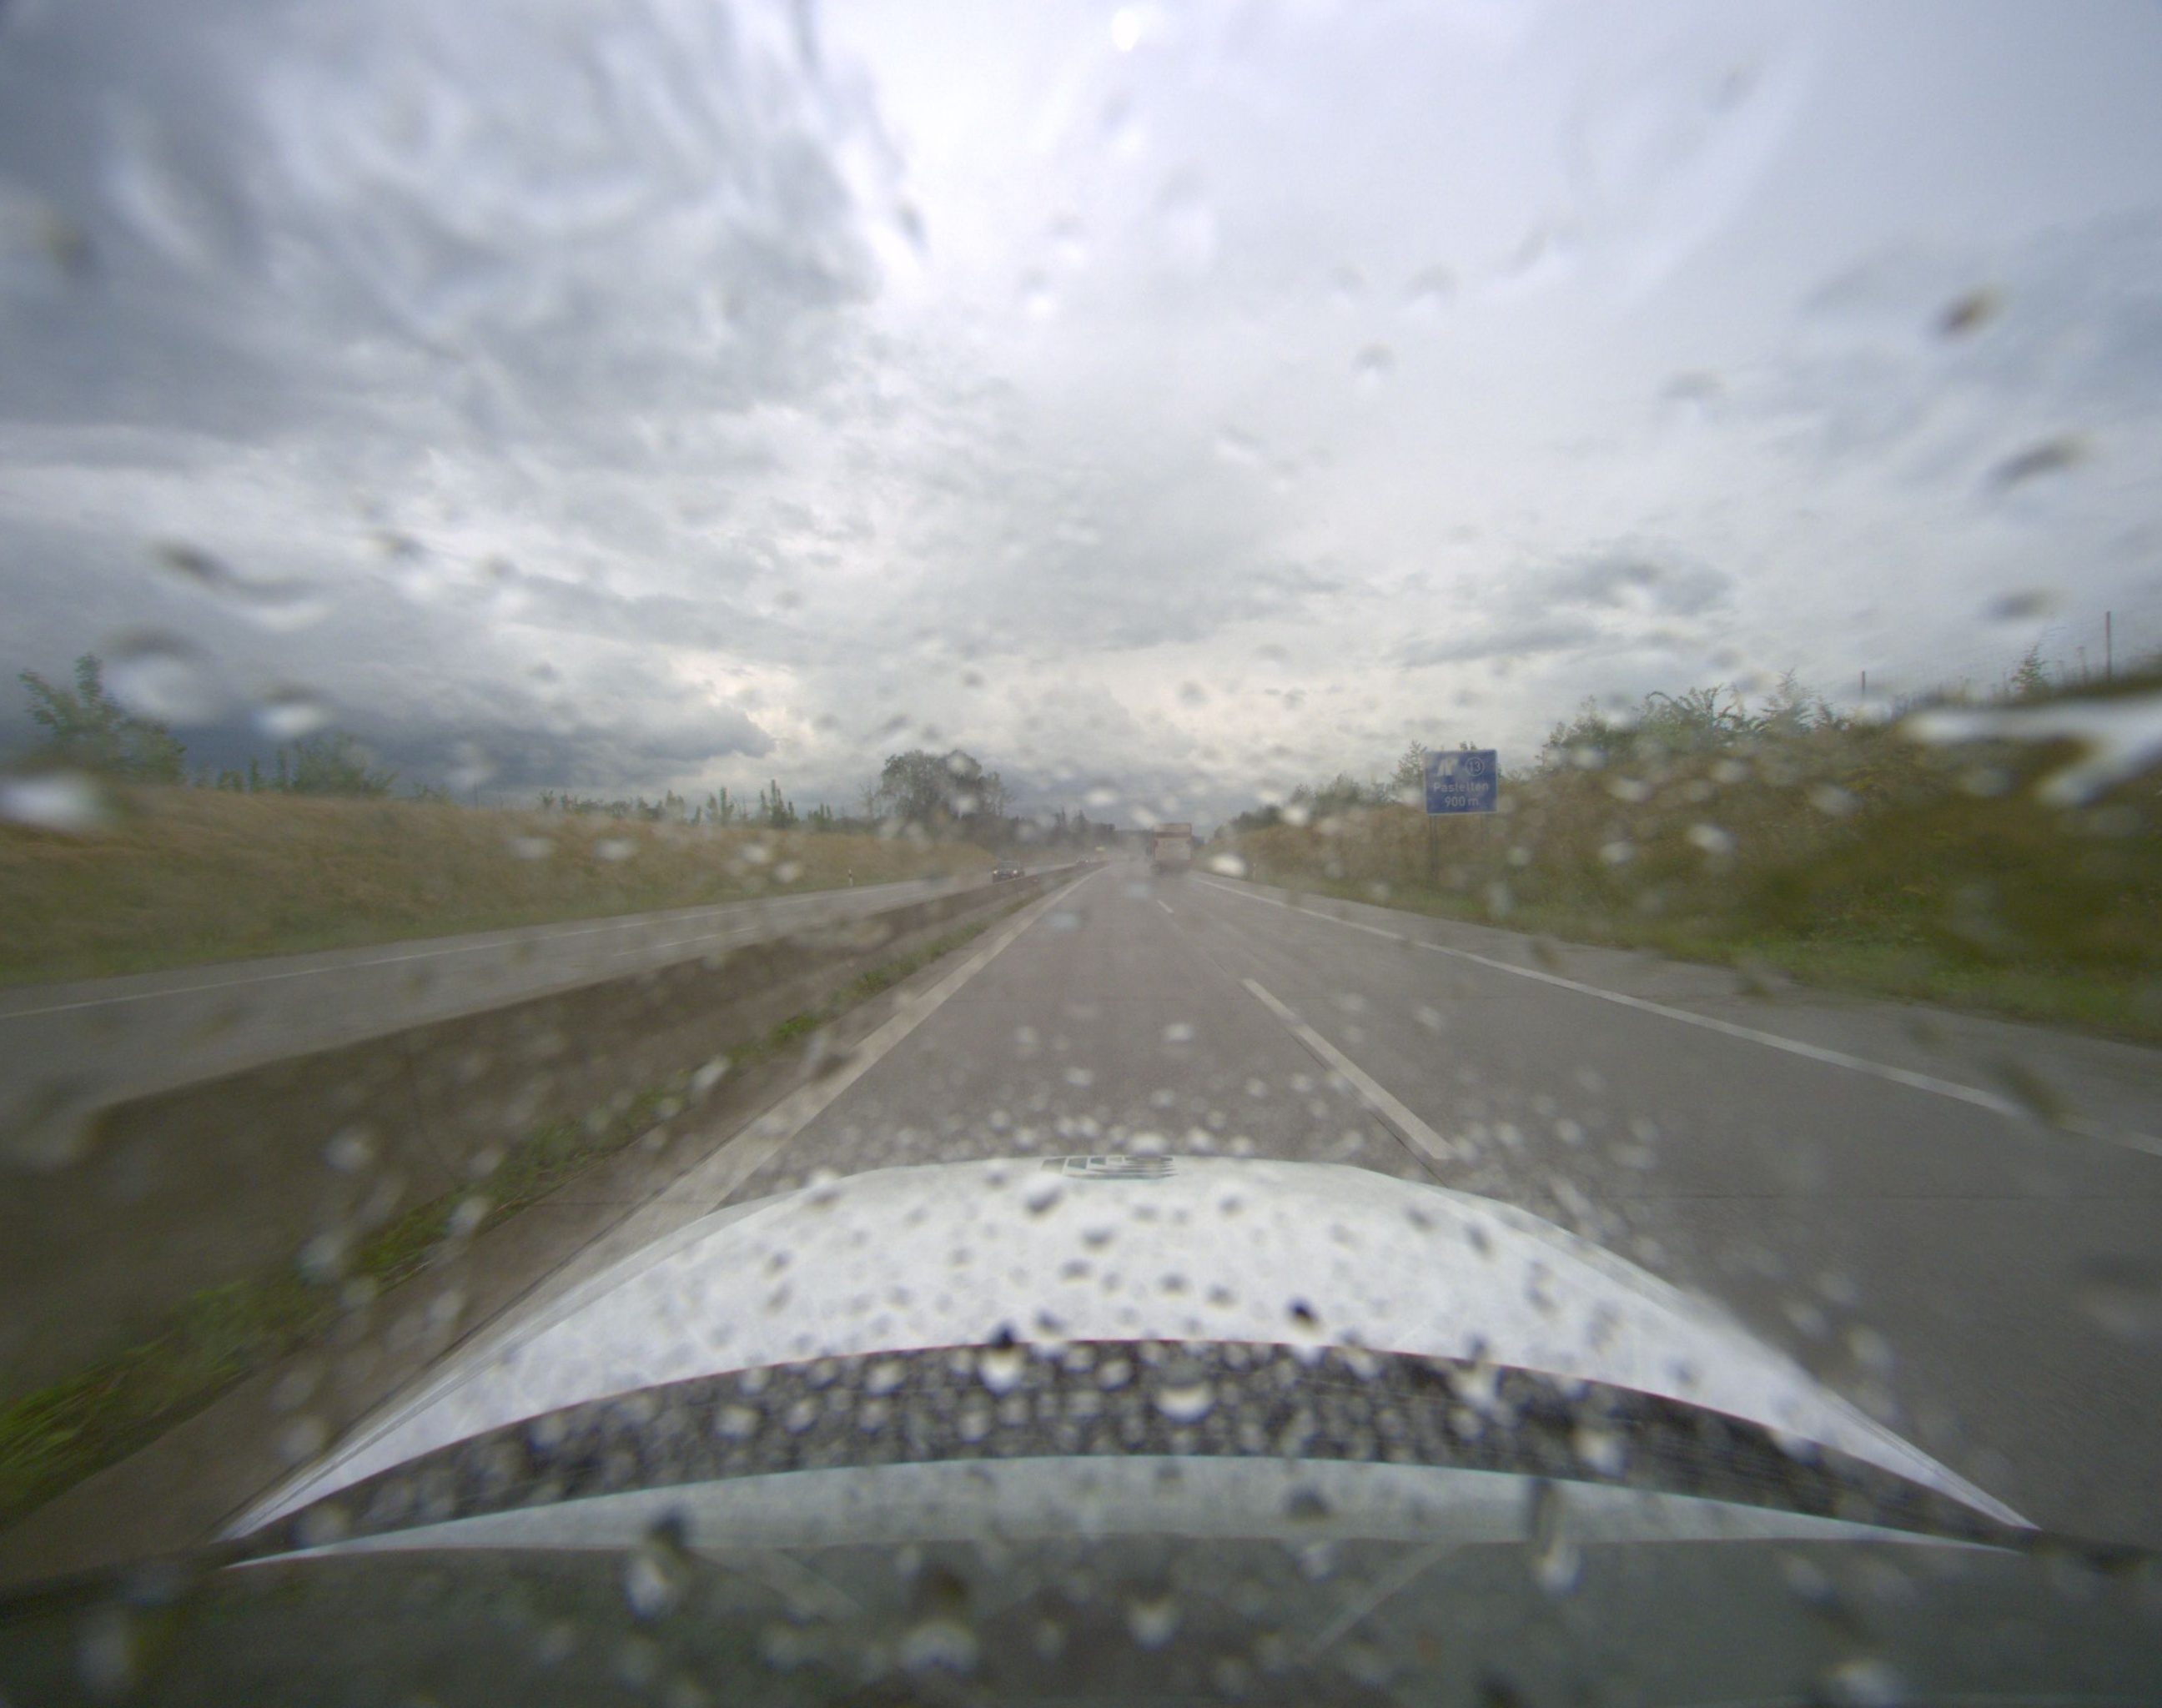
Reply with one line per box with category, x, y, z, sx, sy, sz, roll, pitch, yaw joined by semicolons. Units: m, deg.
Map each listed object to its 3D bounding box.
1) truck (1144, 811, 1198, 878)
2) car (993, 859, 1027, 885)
truck;6.344;-0.717;58.804;3.231;4.436;8.250;-1;1;2
car;-4.536;1.121;52.587;1.617;1.428;4.003;-3;1;2
